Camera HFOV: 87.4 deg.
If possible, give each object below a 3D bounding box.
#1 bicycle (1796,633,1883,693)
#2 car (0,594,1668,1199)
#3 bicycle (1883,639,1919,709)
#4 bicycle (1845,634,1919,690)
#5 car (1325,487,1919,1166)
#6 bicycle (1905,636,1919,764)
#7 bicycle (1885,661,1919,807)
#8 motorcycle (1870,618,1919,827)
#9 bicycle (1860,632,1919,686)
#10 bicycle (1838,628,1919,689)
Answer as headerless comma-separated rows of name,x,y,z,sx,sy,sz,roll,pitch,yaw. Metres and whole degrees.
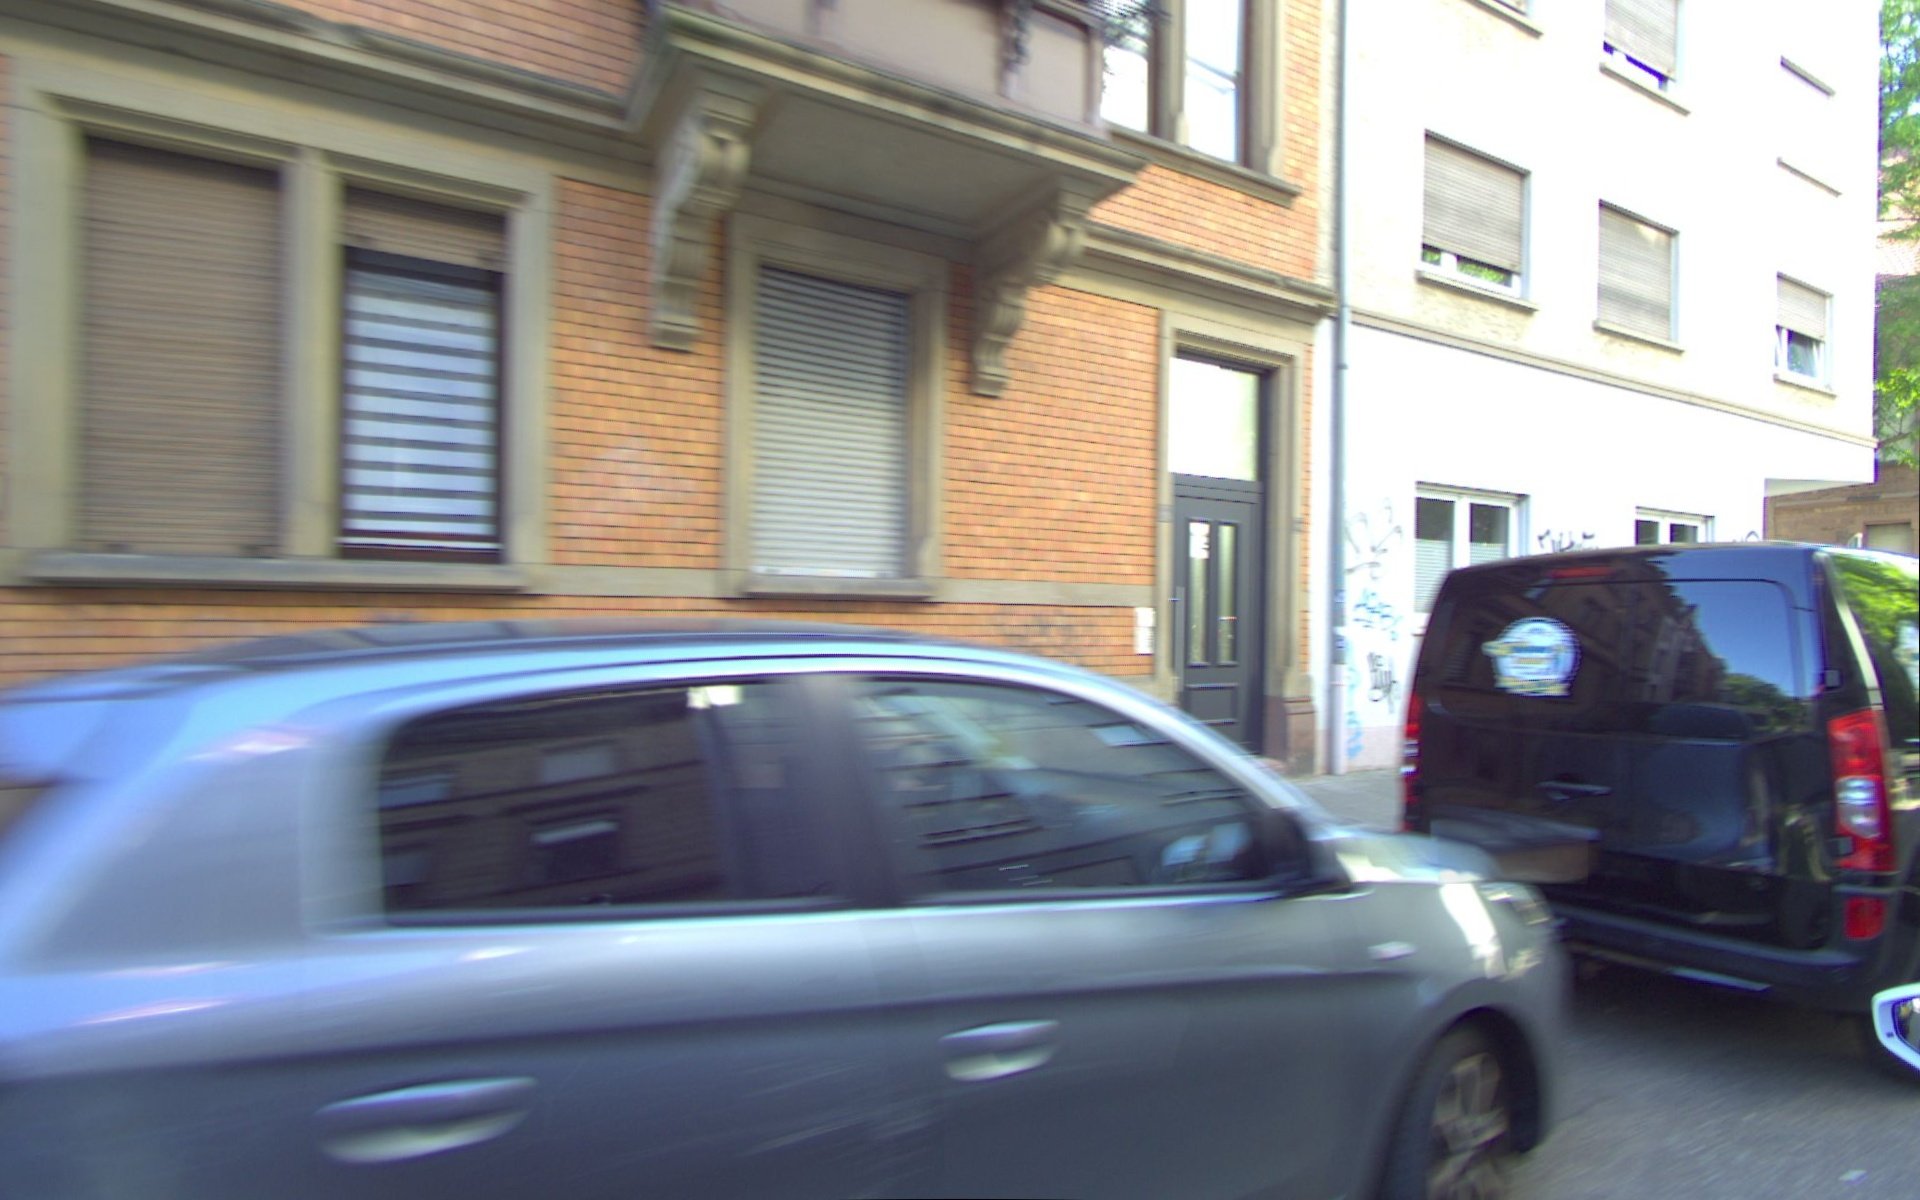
bicycle,19.569,1.375,22.328,2.415,1.196,0.680,-1,0,-29
car,-0.127,0.759,2.429,3.602,1.469,1.669,1,0,-31
bicycle,20.284,1.514,21.051,2.415,1.338,0.680,-1,0,-29
bicycle,21.418,1.407,22.744,0.676,1.196,1.954,-1,0,-29
car,3.801,0.639,4.600,4.289,1.789,1.808,1,-1,-33
bicycle,10.343,0.984,10.324,2.006,1.244,0.397,-1,0,-31
bicycle,8.667,1.132,8.734,1.853,1.171,0.543,1,-1,-35
motorcycle,8.088,0.900,6.982,2.477,1.502,0.901,1,0,34
bicycle,22.203,1.360,23.243,0.676,1.196,1.954,-1,0,-28
bicycle,19.923,1.235,21.688,2.415,1.196,0.680,-1,0,-29
